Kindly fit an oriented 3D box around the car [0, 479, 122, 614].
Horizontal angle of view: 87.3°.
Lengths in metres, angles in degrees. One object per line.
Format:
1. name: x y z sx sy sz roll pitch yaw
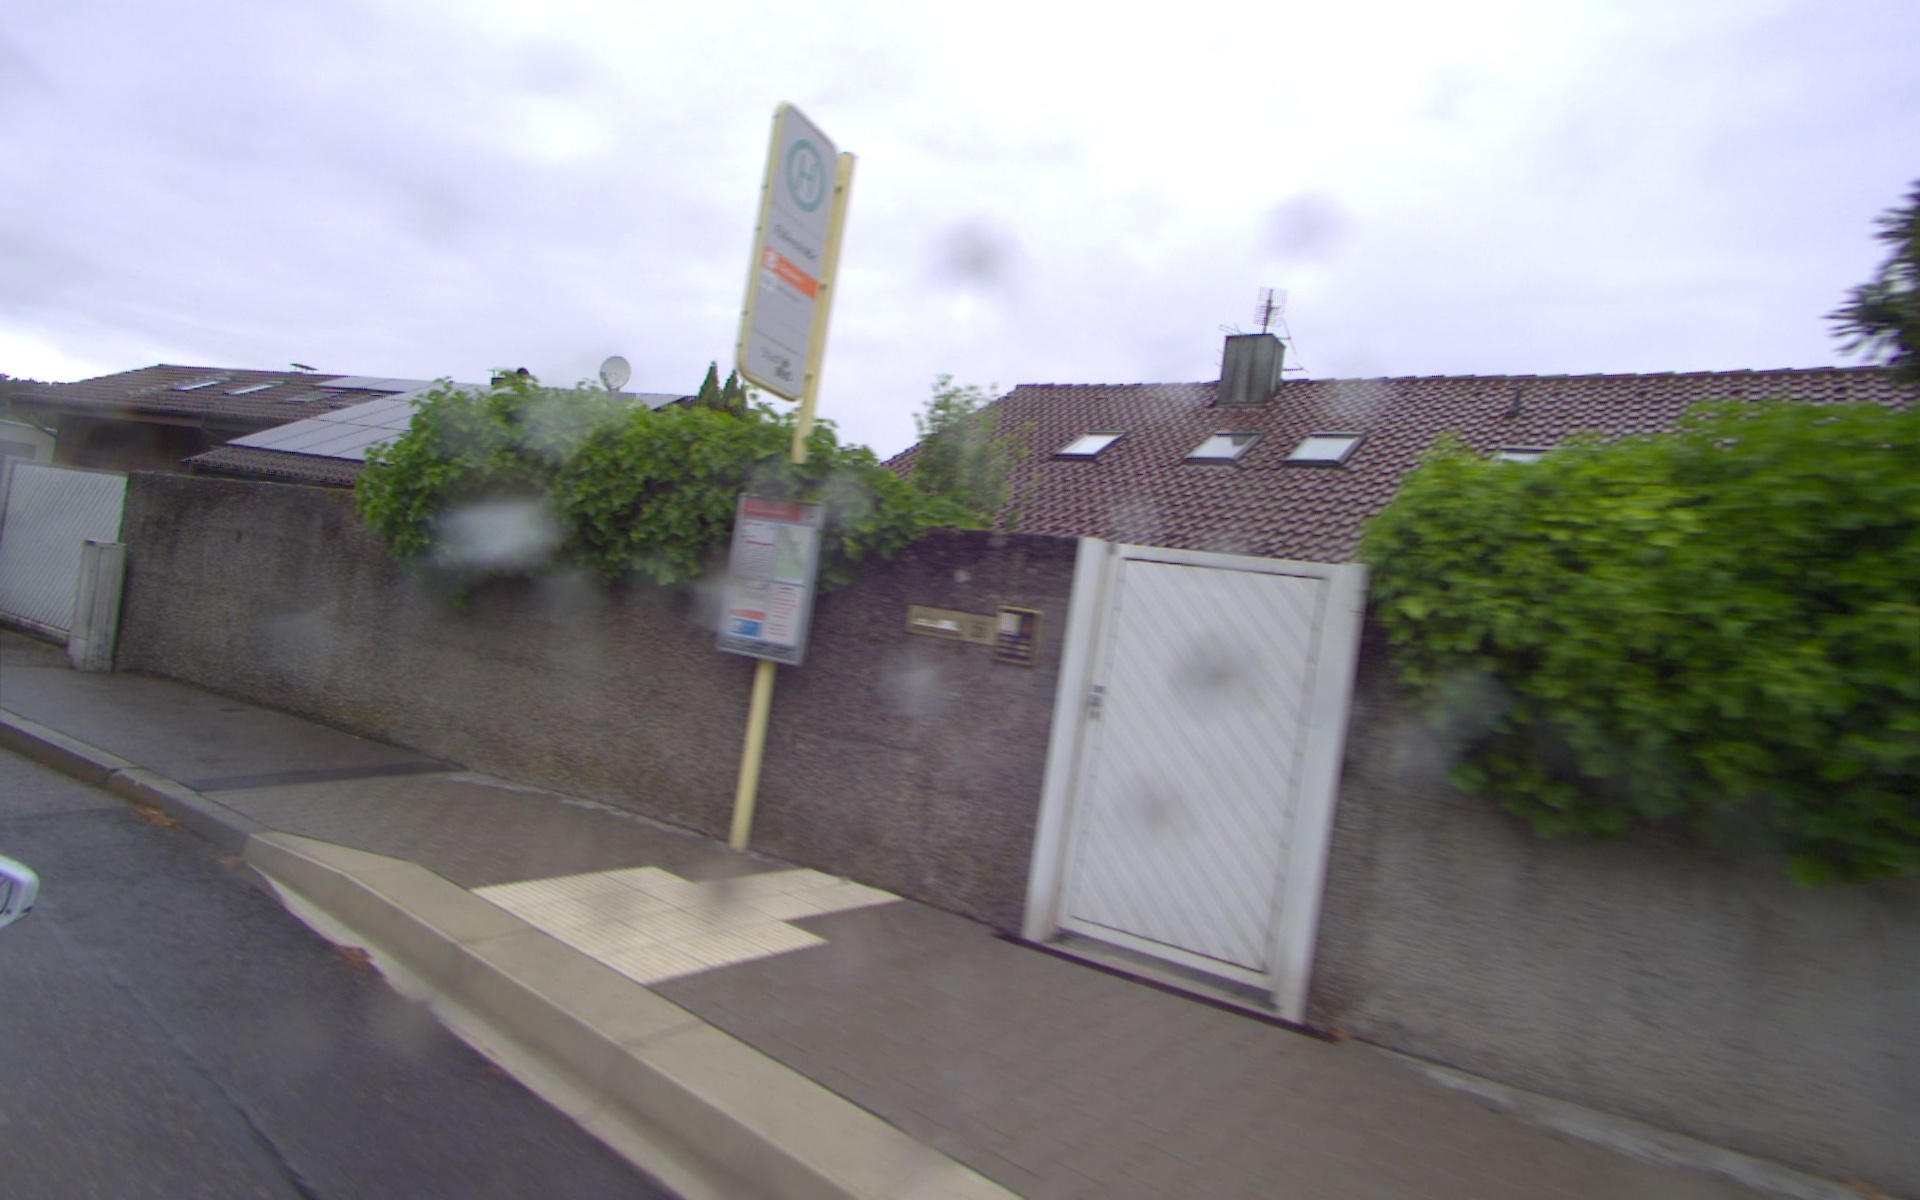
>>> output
1. car: -15.185 -0.891 16.449 1.989 1.737 4.361 13 -6 -40
